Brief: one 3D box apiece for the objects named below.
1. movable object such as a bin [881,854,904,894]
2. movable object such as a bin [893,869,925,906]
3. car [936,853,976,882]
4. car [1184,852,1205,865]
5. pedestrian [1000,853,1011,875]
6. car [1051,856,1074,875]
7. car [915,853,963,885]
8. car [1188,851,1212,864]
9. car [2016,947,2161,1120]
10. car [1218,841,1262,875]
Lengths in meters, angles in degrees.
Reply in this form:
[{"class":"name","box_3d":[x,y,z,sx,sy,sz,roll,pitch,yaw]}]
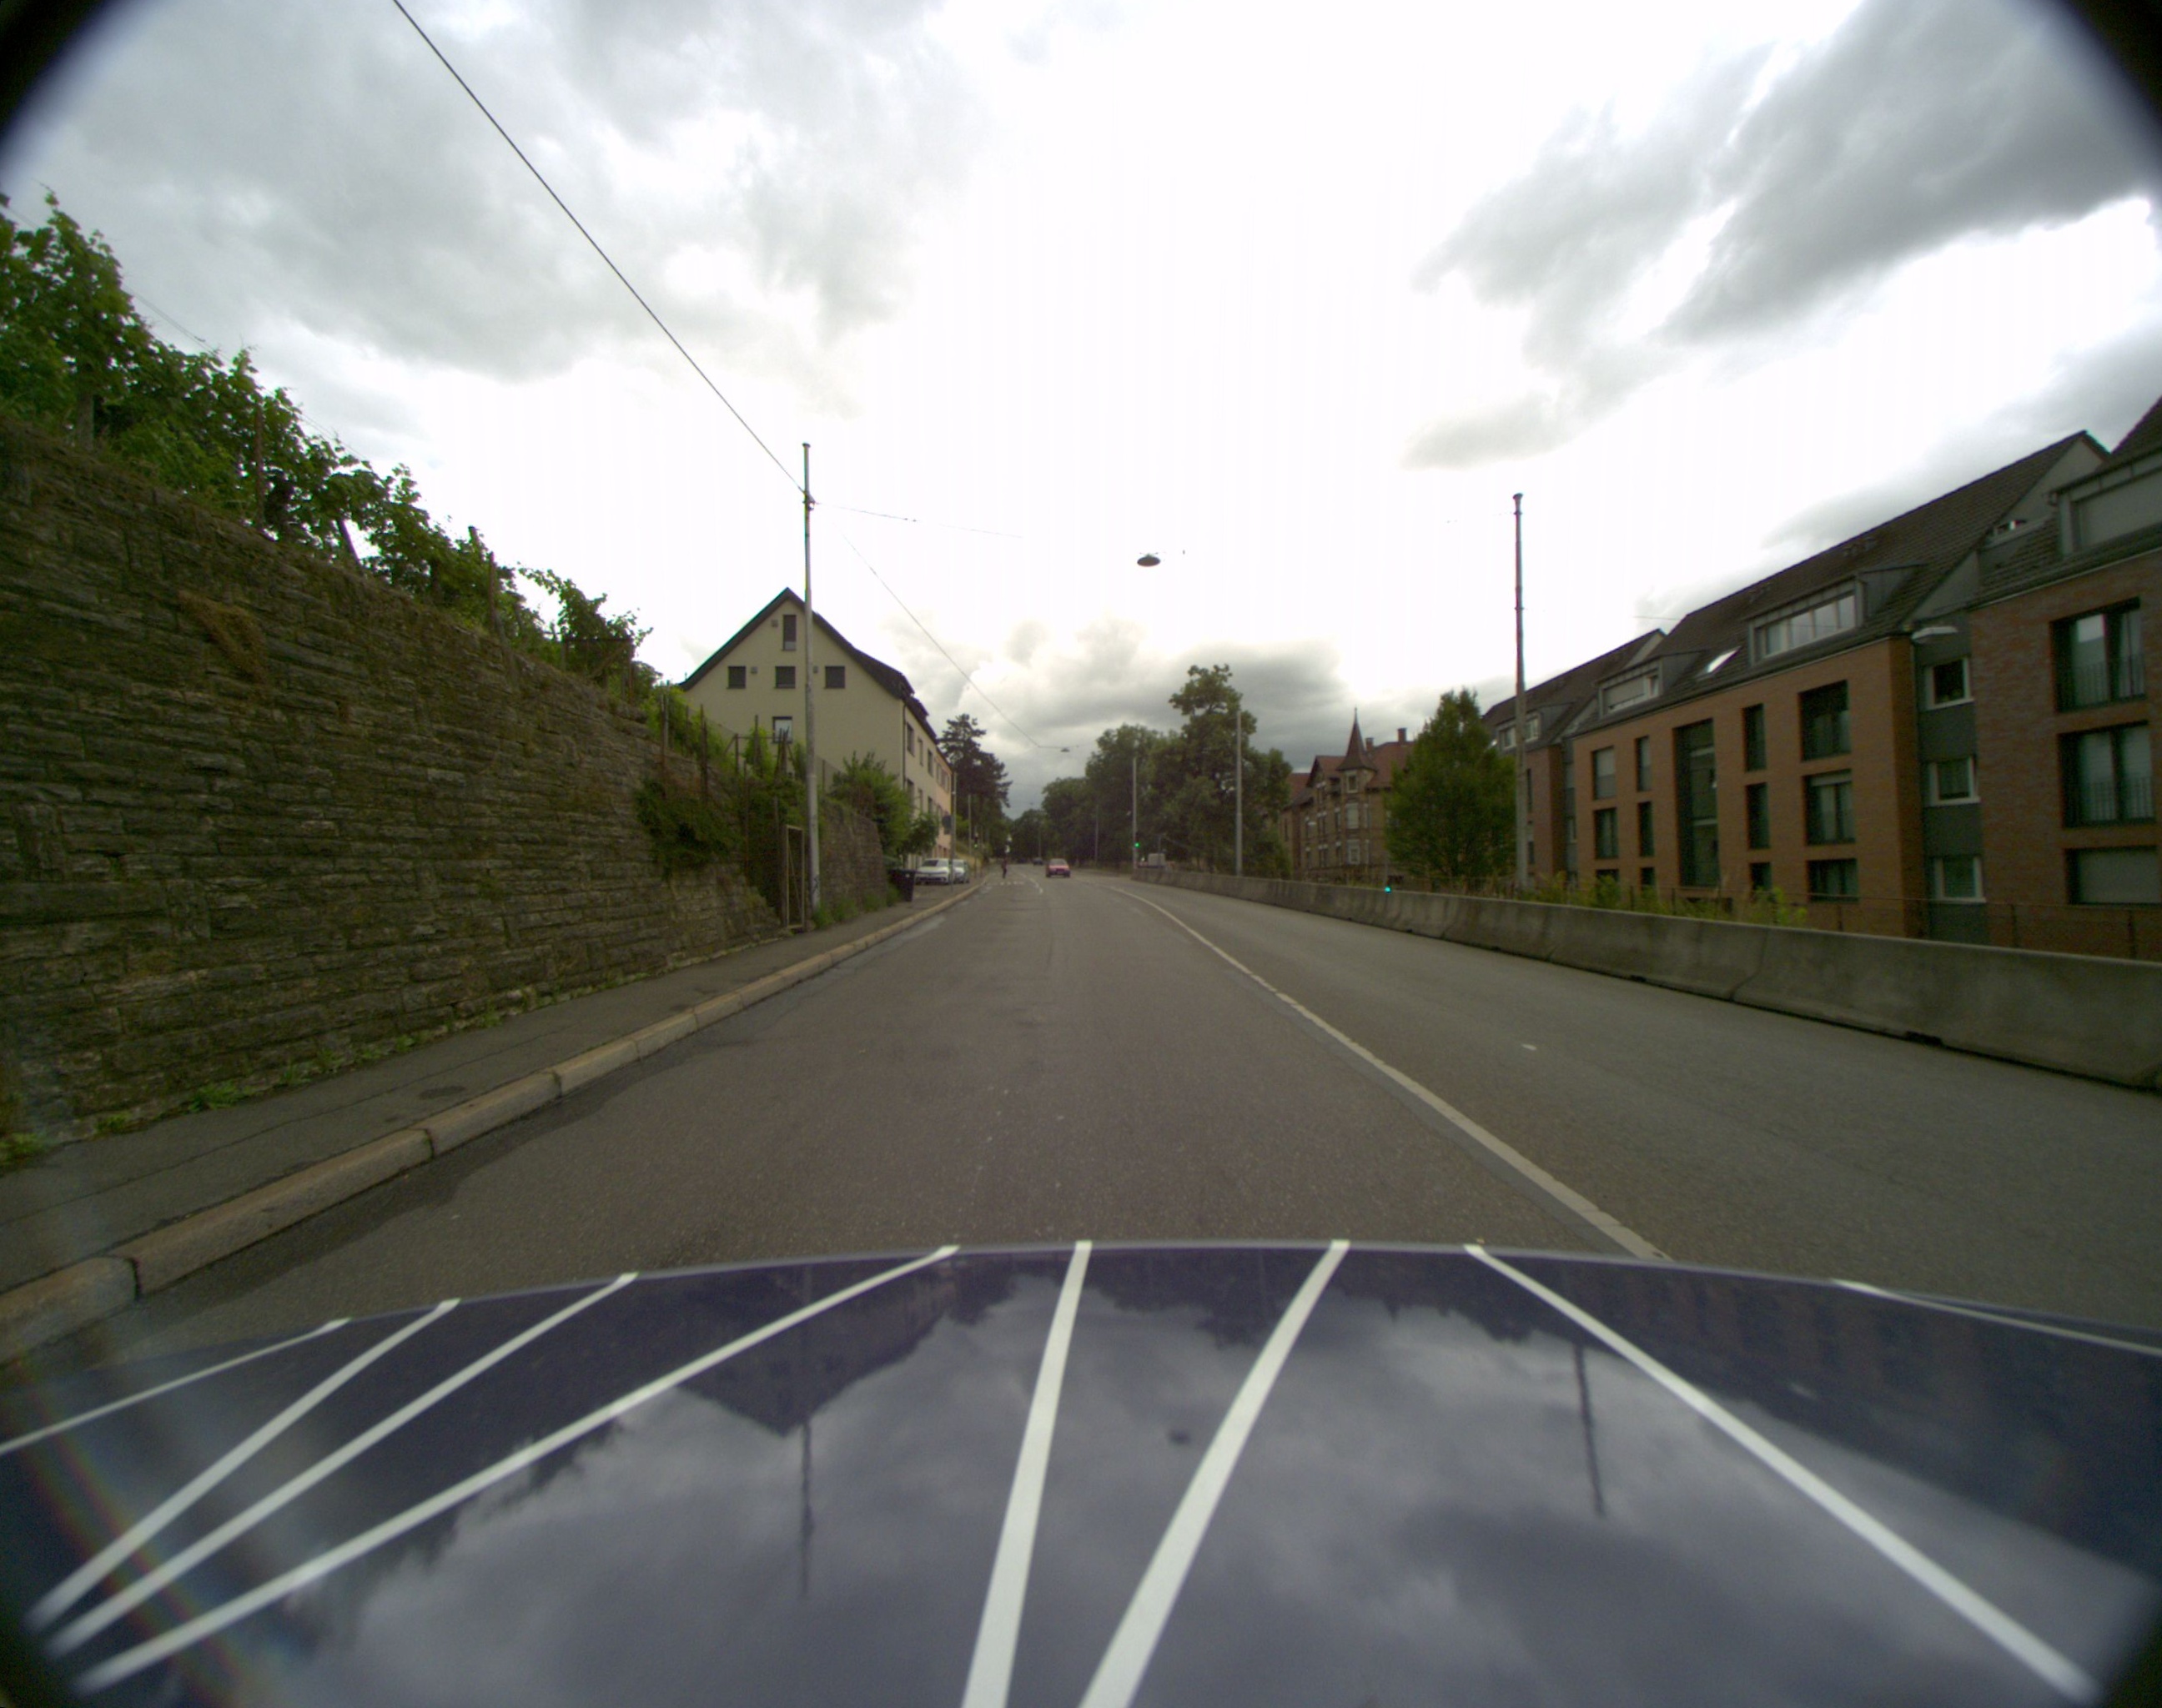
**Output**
[{"class":"movable object such as a bin","box_3d":[-7.452,0.772,30.139,0.753,1.533,1.064,-1,1,-8]},{"class":"movable object such as a bin","box_3d":[-5.500,1.074,24.357,0.811,1.120,0.874,-1,1,-2]},{"class":"car","box_3d":[-7.471,0.798,45.857,1.732,1.566,4.248,-2,1,-1]},{"class":"car","box_3d":[14.036,0.592,93.883,1.999,1.543,4.000,-1,0,0]},{"class":"pedestrian","box_3d":[-5.993,0.818,60.175,0.735,1.702,0.696,-1,1,2]},{"class":"car","box_3d":[-1.462,0.875,59.060,1.646,1.429,3.999,-1,-1,-3]},{"class":"car","box_3d":[-7.585,0.765,40.886,1.799,1.566,4.054,-2,1,-1]},{"class":"car","box_3d":[12.884,0.386,82.583,1.999,1.346,4.000,0,0,0]},{"class":"car","box_3d":[11.264,1.806,6.504,1.538,1.505,3.999,-2,0,-1]},{"class":"car","box_3d":[13.061,0.283,62.926,2.565,2.567,5.735,-2,1,2]}]
